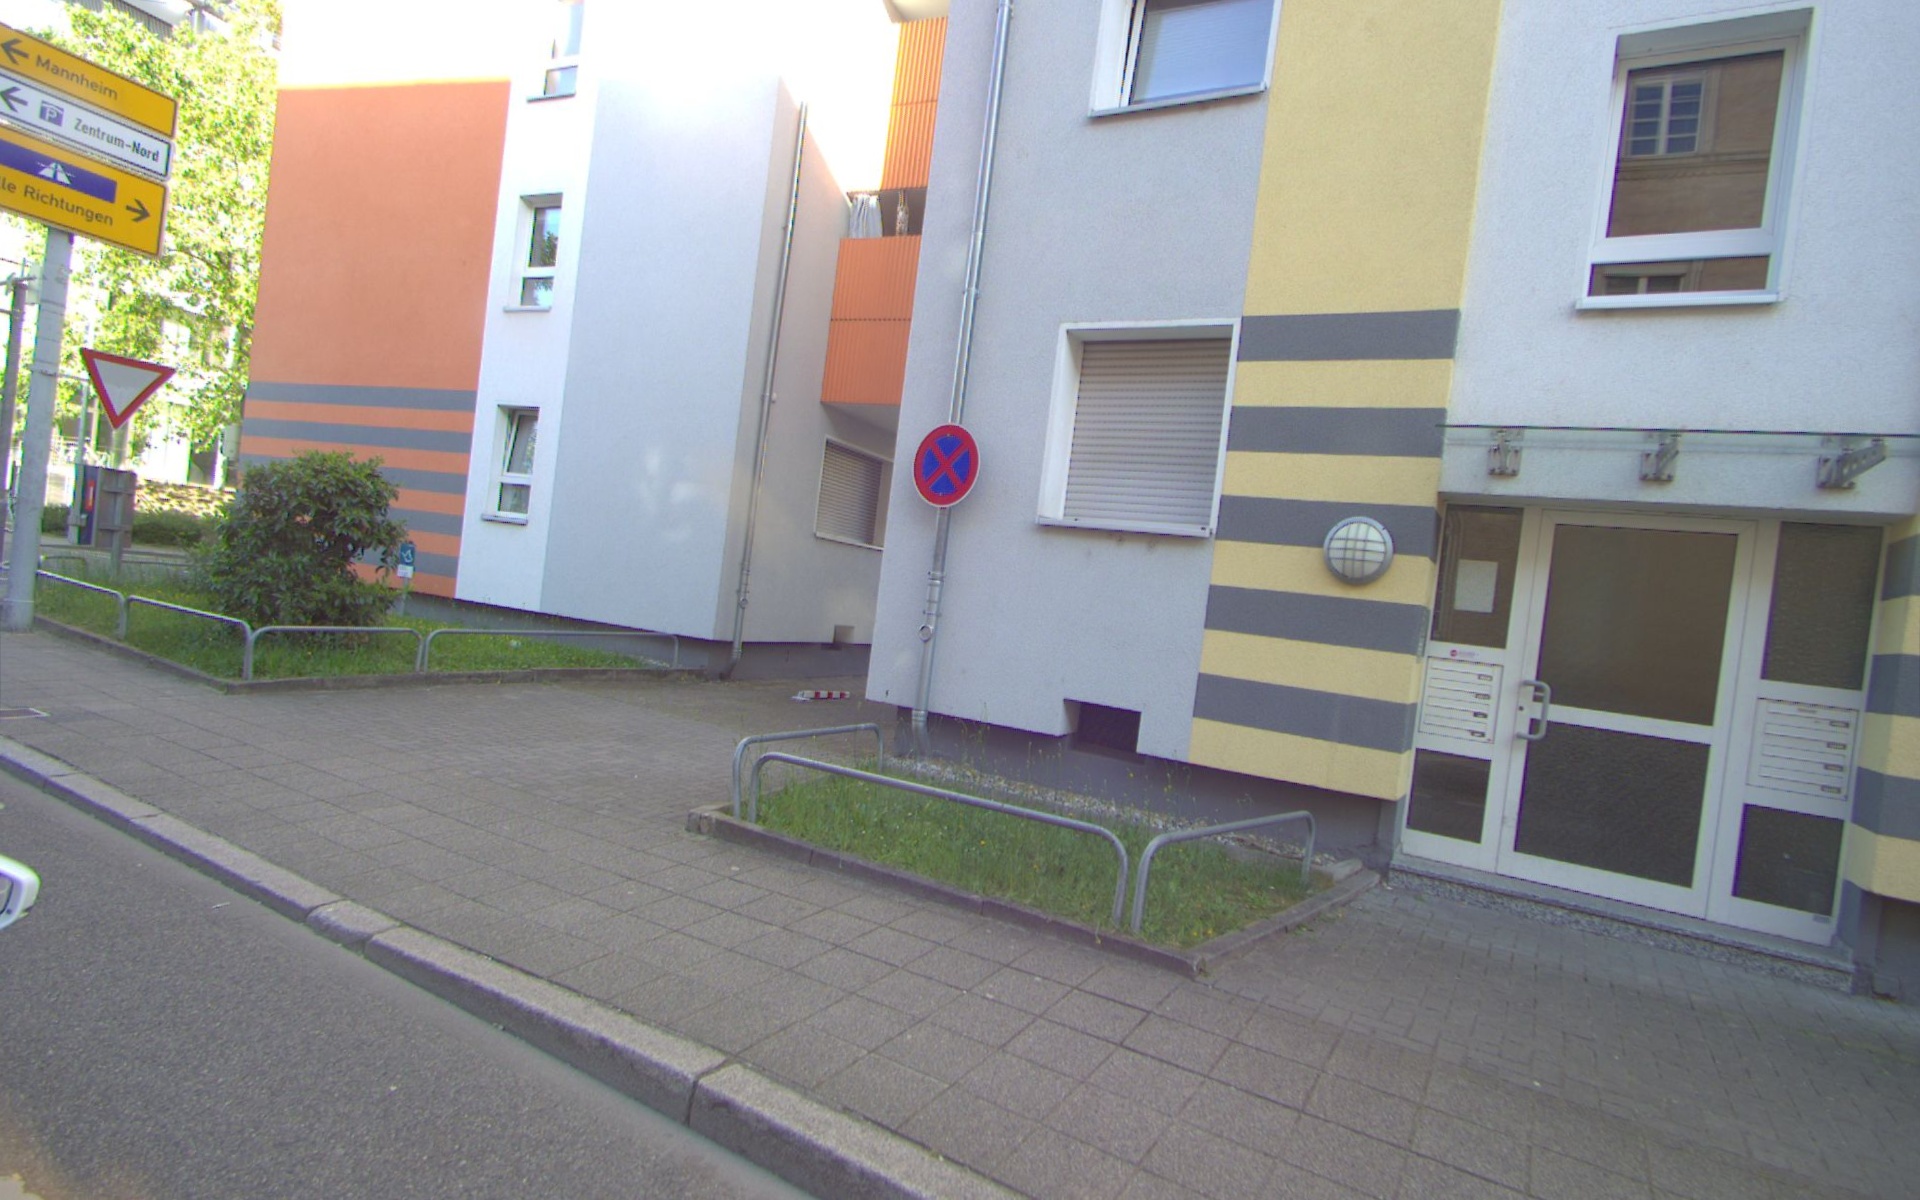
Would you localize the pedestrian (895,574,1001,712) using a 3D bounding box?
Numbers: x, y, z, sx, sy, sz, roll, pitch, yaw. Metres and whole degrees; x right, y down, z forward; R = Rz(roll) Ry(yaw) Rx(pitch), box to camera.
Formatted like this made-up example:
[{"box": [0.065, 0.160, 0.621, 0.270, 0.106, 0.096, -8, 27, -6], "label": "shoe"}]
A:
[{"box": [-0.148, 0.536, 12.690, 0.941, 1.593, 0.749, 6, 1, 29], "label": "pedestrian"}]

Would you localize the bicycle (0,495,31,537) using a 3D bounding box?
[{"box": [-26.529, -2.377, 27.322, 1.883, 1.062, 0.463, 7, 1, -10], "label": "bicycle"}]
